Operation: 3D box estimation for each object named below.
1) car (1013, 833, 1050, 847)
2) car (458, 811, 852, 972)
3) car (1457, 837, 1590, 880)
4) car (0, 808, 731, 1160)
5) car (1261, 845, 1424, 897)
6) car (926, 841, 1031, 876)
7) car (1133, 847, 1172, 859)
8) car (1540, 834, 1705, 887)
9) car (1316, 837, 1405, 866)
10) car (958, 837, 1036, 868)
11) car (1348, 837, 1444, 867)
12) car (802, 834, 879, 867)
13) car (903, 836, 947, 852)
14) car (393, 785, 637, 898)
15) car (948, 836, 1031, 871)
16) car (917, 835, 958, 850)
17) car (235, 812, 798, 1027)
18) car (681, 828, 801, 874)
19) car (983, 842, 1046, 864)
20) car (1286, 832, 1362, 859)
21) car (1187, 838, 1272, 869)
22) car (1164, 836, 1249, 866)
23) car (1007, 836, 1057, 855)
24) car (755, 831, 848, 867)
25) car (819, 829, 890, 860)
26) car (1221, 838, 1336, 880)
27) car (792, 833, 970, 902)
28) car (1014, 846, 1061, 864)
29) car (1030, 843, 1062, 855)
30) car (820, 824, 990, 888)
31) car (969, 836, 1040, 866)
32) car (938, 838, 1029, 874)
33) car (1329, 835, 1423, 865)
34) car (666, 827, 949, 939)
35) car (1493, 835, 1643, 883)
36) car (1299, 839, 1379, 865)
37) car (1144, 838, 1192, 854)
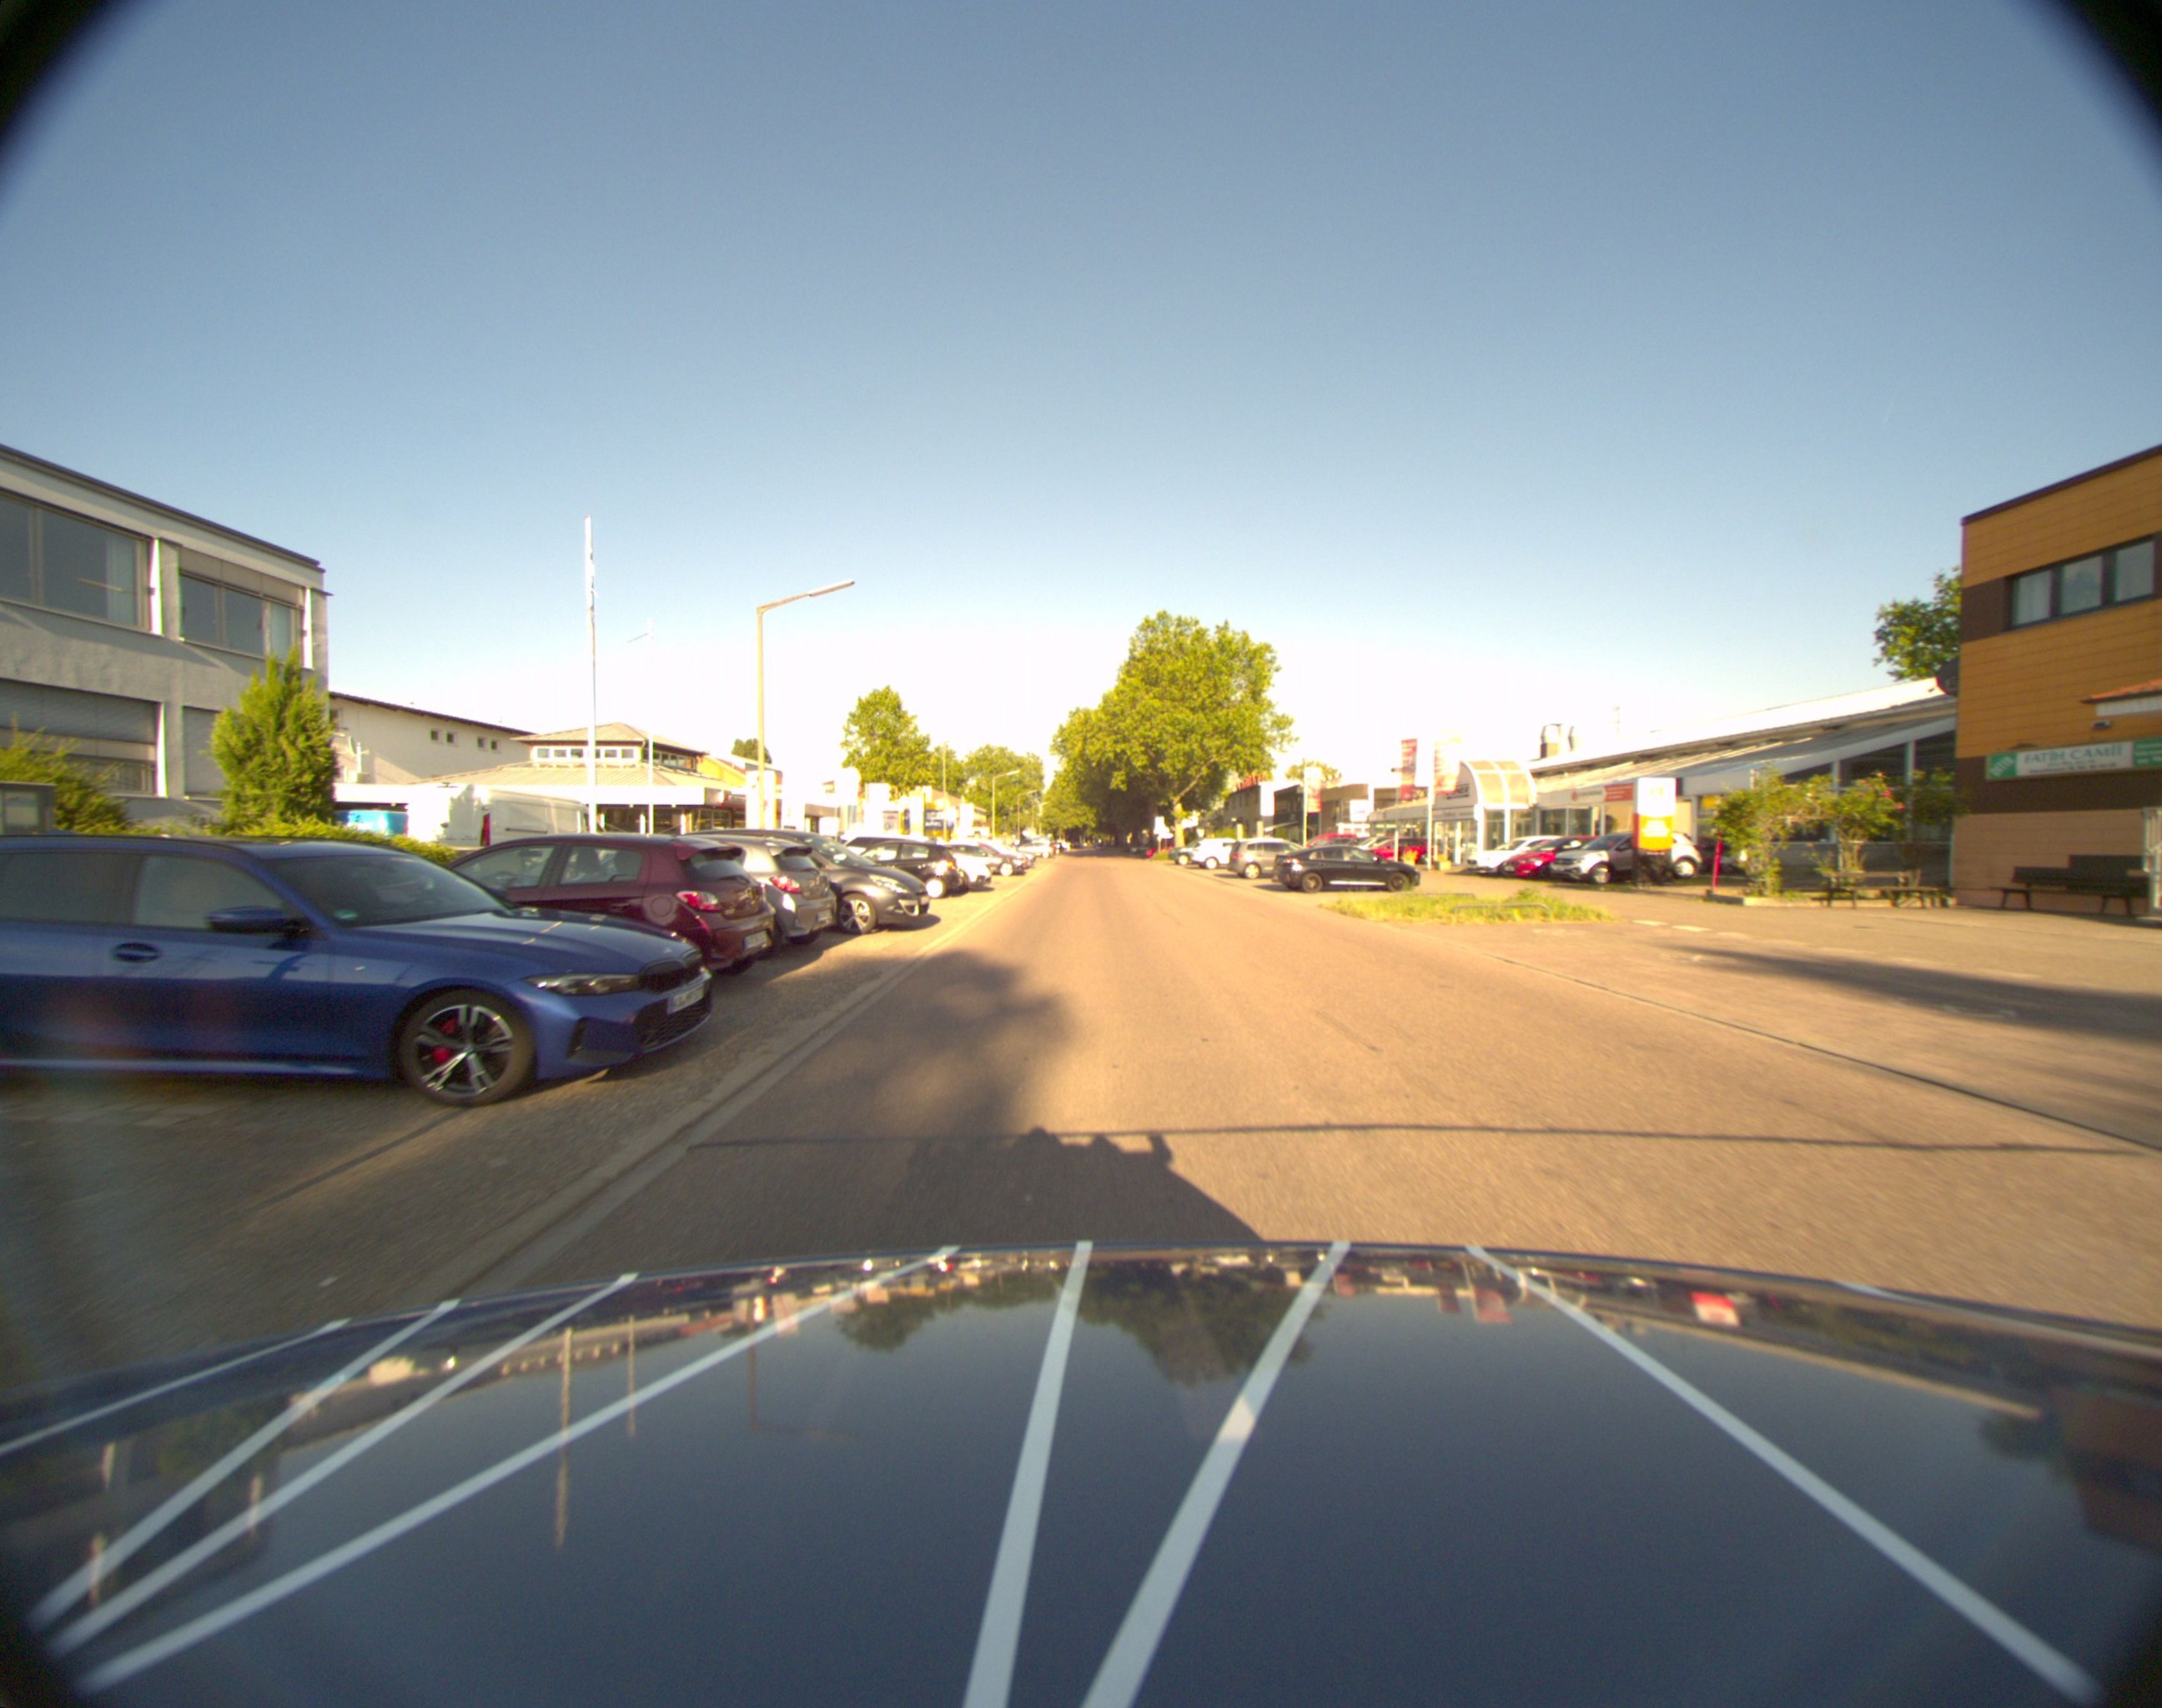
[{"bbox_3d":[-9.702,-2.645,149.133,6.995,2.644,2.134,1,0,1],"label":"car"},{"bbox_3d":[-5.260,0.424,9.778,3.997,1.643,1.800,3,1,1],"label":"car"},{"bbox_3d":[17.038,0.155,29.395,3.997,1.547,2.000,-1,1,0],"label":"car"},{"bbox_3d":[-4.830,0.631,4.621,4.536,1.663,1.752,2,1,-3],"label":"car"},{"bbox_3d":[8.057,0.487,23.733,4.325,1.451,2.201,-1,1,-3],"label":"car"},{"bbox_3d":[-4.613,0.182,34.743,4.448,1.428,2.135,2,1,0],"label":"car"},{"bbox_3d":[8.703,-0.156,92.779,4.612,1.414,2.000,0,0,0],"label":"car"},{"bbox_3d":[17.187,0.179,24.276,3.920,1.547,1.887,-1,1,0],"label":"car"},{"bbox_3d":[17.137,-0.164,46.661,4.731,1.633,1.999,-1,1,-1],"label":"car"},{"bbox_3d":[-4.570,-0.116,41.769,4.120,1.609,2.058,1,1,-4],"label":"car"},{"bbox_3d":[17.146,-0.133,41.435,4.475,1.544,1.836,-1,1,-1],"label":"car"},{"bbox_3d":[-14.142,-0.225,44.805,3.912,1.888,1.785,0,3,0],"label":"car"},{"bbox_3d":[-15.514,-1.034,75.768,3.998,1.510,1.952,-1,1,-4],"label":"car"},{"bbox_3d":[-15.022,-0.355,20.843,1.998,2.610,6.136,-1,1,0],"label":"car"},{"bbox_3d":[-4.685,-0.044,39.323,4.120,1.730,1.883,-1,1,-3],"label":"car"},{"bbox_3d":[-15.013,-1.172,79.489,3.998,1.488,1.999,-1,1,-4],"label":"car"},{"bbox_3d":[-5.066,0.550,7.277,3.998,1.643,1.742,3,1,-2],"label":"car"},{"bbox_3d":[-14.361,-0.149,32.293,4.154,1.761,2.000,2,1,0],"label":"car"},{"bbox_3d":[-4.493,-0.078,51.365,3.996,1.289,1.784,2,1,3],"label":"car"},{"bbox_3d":[17.303,-0.597,54.295,4.758,1.809,1.999,-1,1,-1],"label":"car"},{"bbox_3d":[8.334,-0.048,42.873,4.314,1.646,2.201,-1,1,-3],"label":"car"},{"bbox_3d":[8.350,-0.227,50.933,5.273,1.888,2.201,-1,2,0],"label":"car"},{"bbox_3d":[-4.686,-0.825,72.910,4.612,1.604,1.999,3,2,0],"label":"car"},{"bbox_3d":[-14.409,-0.274,39.316,3.997,1.687,2.000,2,1,0],"label":"car"},{"bbox_3d":[-14.669,-0.577,49.430,3.943,1.887,2.202,0,-2,0],"label":"car"},{"bbox_3d":[8.303,0.193,32.180,4.242,1.646,2.201,-1,1,-3],"label":"car"},{"bbox_3d":[-5.270,0.325,20.438,4.259,1.614,1.920,2,1,-1],"label":"car"},{"bbox_3d":[-4.471,0.077,78.569,4.611,1.571,2.000,3,1,2],"label":"car"},{"bbox_3d":[-5.130,-0.698,113.010,4.637,1.518,1.999,3,1,-1],"label":"car"},{"bbox_3d":[-5.138,0.049,22.757,4.567,1.588,2.201,3,1,-3],"label":"car"},{"bbox_3d":[-4.384,-0.173,44.183,3.998,1.579,1.866,2,1,-3],"label":"car"},{"bbox_3d":[-4.683,0.065,36.811,4.254,1.596,1.745,-1,1,-5],"label":"car"},{"bbox_3d":[17.118,-0.236,44.234,4.673,1.583,1.928,-1,1,-1],"label":"car"},{"bbox_3d":[-4.473,0.417,12.794,3.994,1.604,2.001,2,2,7],"label":"car"},{"bbox_3d":[17.067,0.148,26.792,3.997,1.547,2.000,-1,1,0],"label":"car"},{"bbox_3d":[17.405,-0.127,51.466,4.726,1.625,1.999,-1,1,-1],"label":"car"},{"bbox_3d":[8.266,-0.788,72.661,4.307,1.438,1.999,-1,1,0],"label":"car"}]
